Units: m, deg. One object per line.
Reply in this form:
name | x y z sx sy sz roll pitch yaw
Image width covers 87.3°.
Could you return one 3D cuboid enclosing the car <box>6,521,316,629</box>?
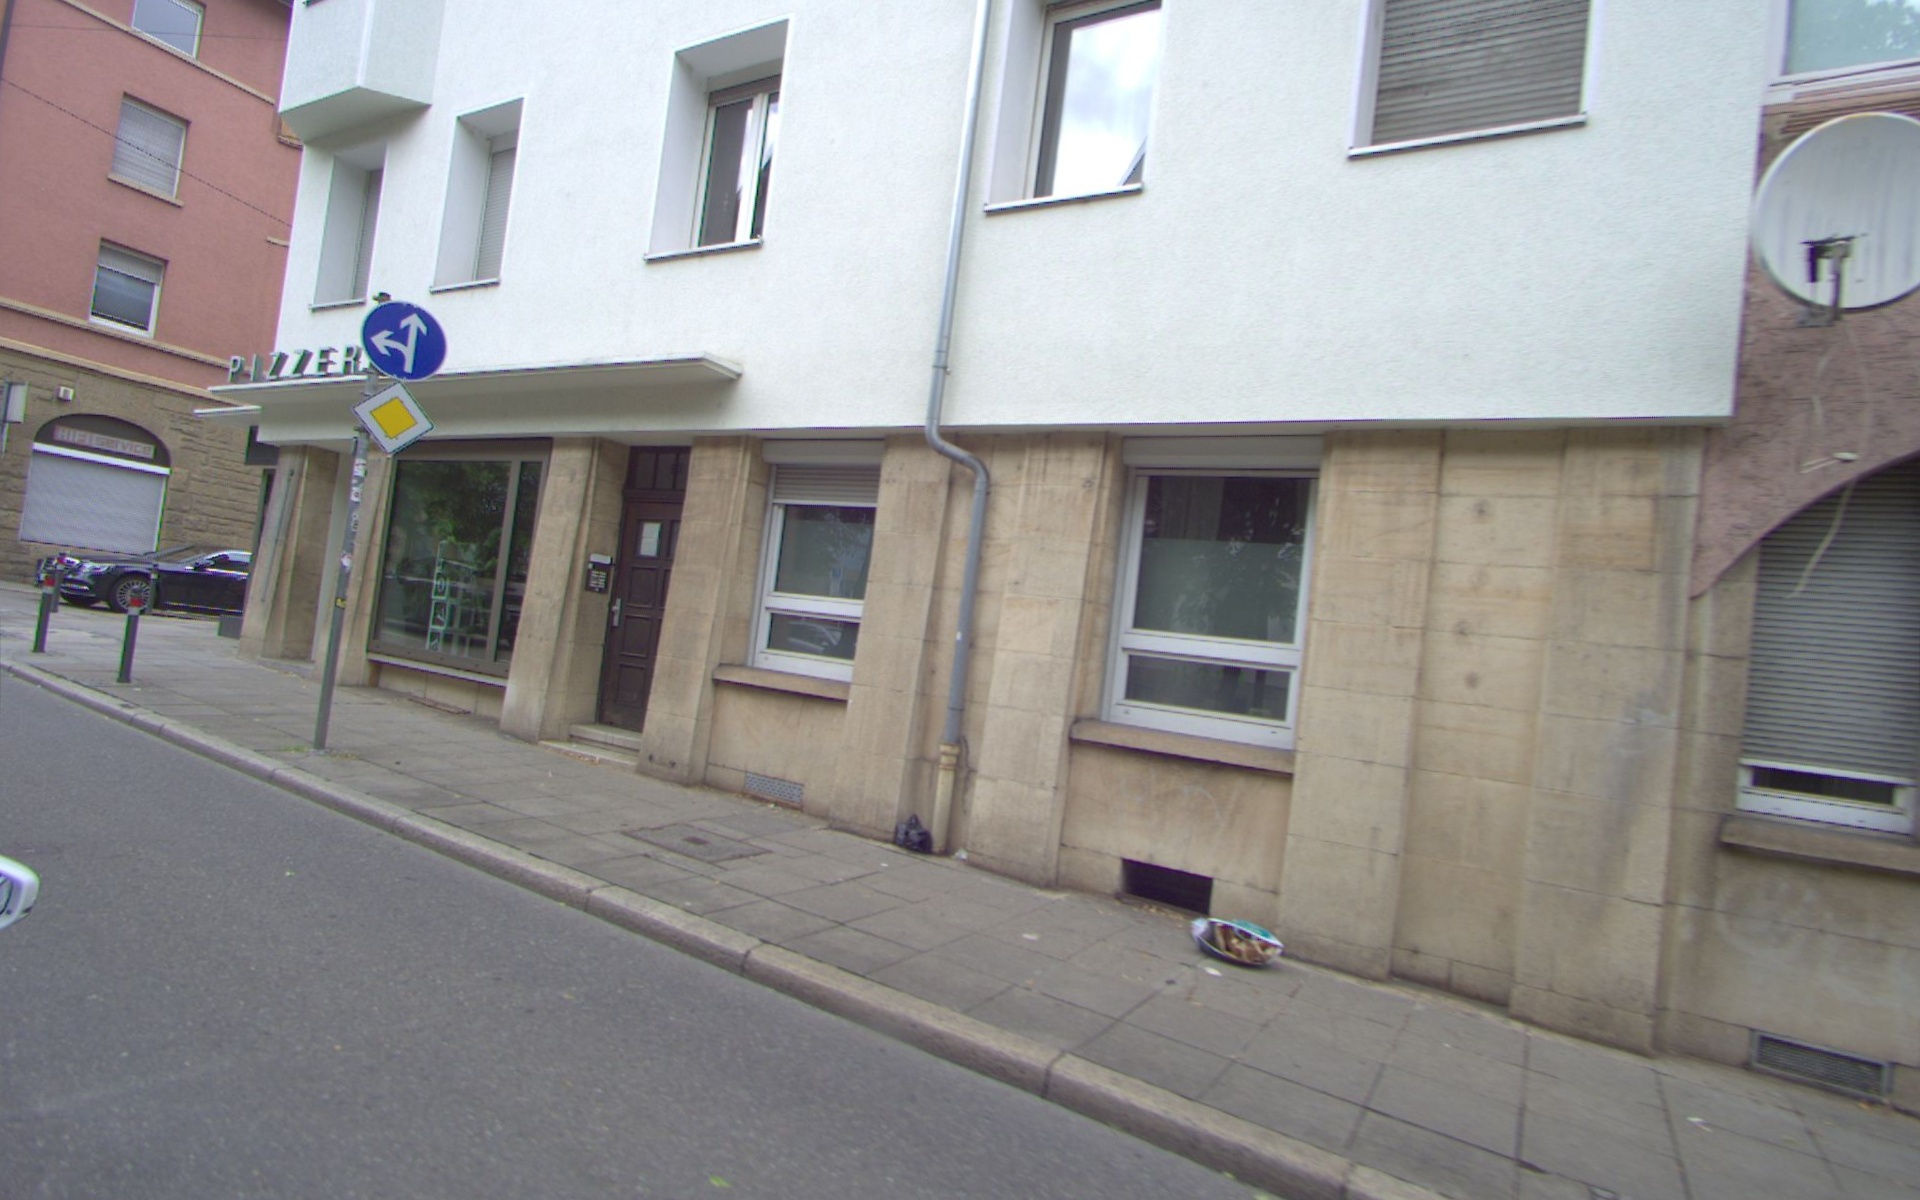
car | -14.749 -0.390 18.840 1.964 1.392 4.000 8 -2 25
